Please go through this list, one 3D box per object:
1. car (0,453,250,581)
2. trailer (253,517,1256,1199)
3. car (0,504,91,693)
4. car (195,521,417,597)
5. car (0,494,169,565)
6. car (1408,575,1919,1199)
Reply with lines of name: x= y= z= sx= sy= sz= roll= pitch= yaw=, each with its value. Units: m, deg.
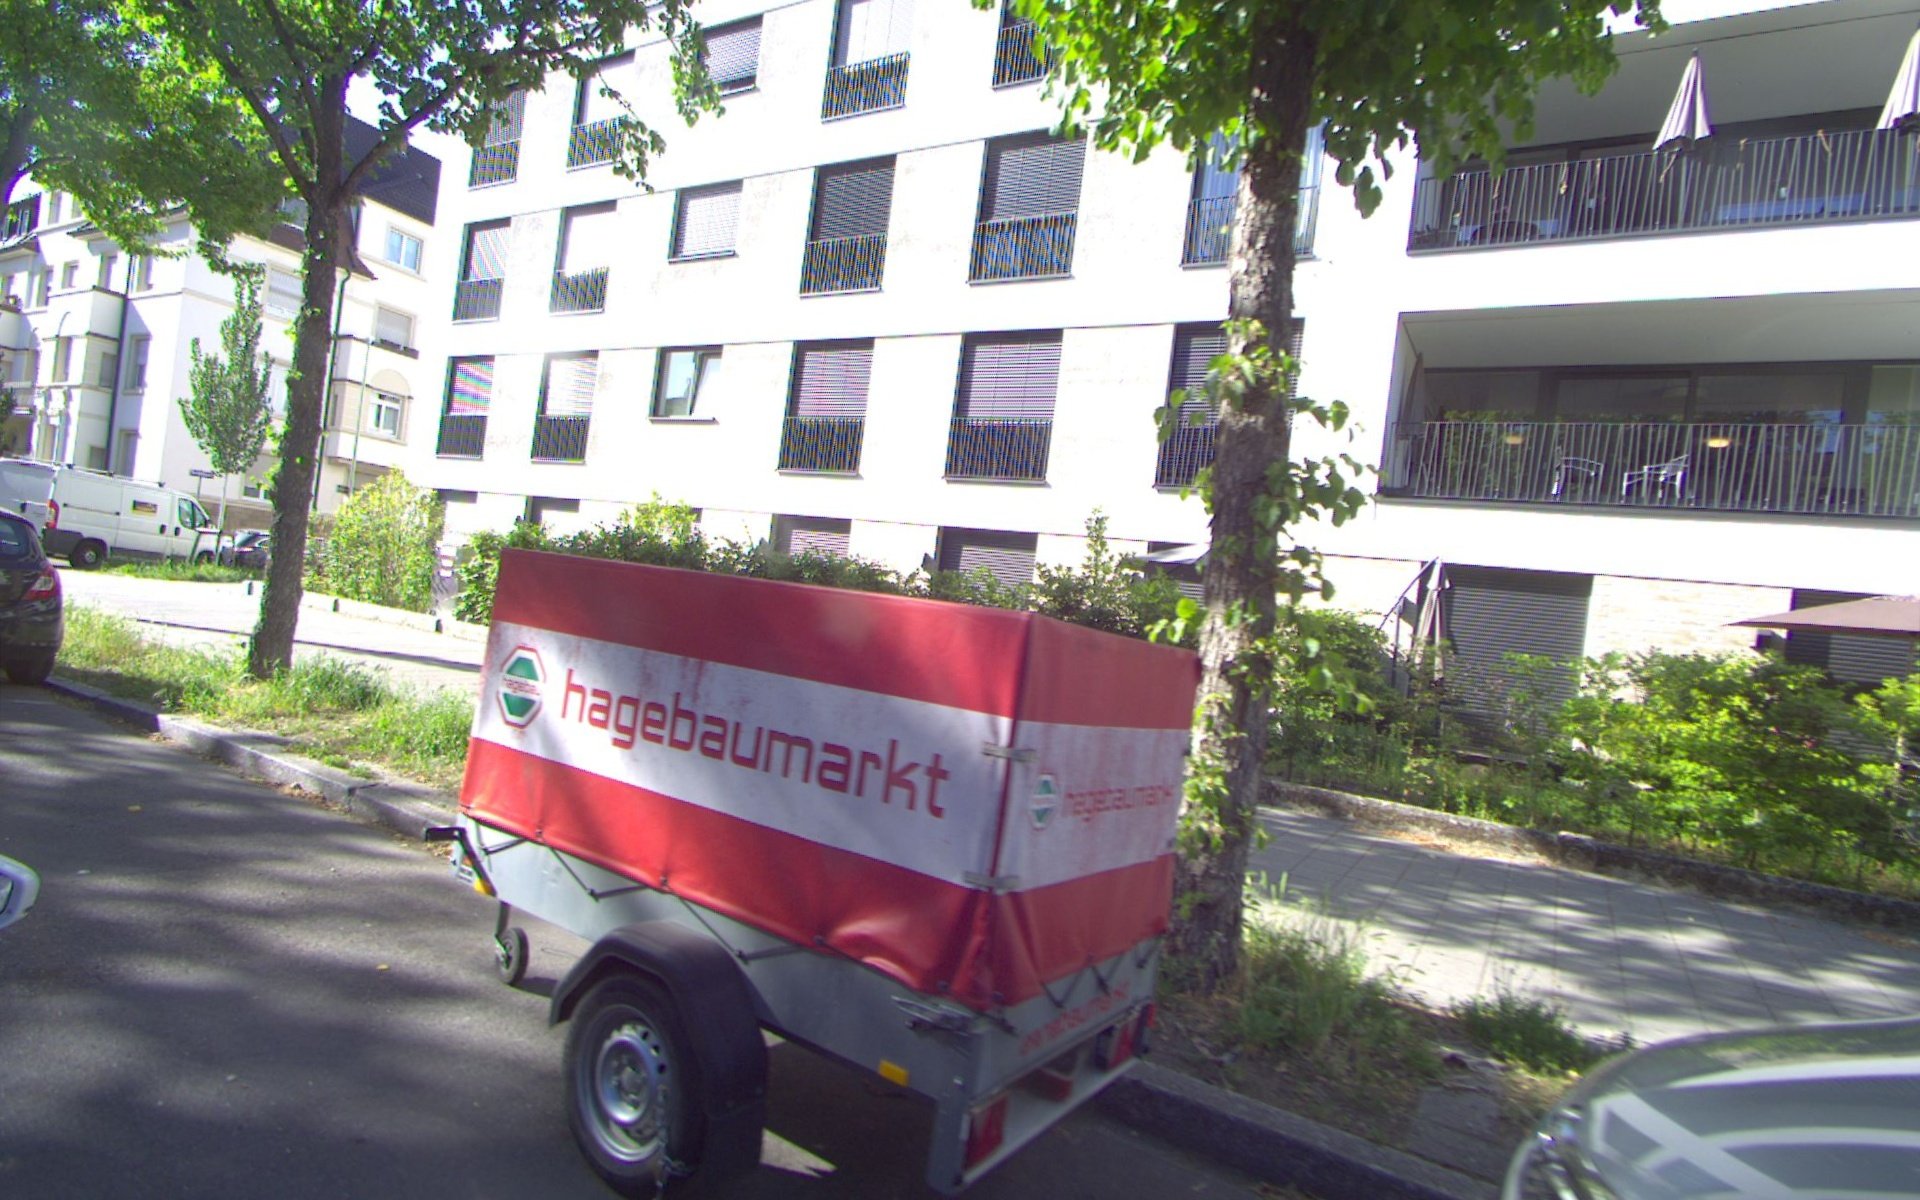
car: x=-20.246 y=-1.885 z=24.137 sx=2.192 sy=2.334 sz=5.060 roll=7 pitch=-1 yaw=8
trailer: x=-0.823 y=0.725 z=3.593 sx=3.140 sy=1.596 sz=1.578 roll=7 pitch=-3 yaw=33
car: x=-9.491 y=-0.263 z=8.645 sx=4.108 sy=1.466 sz=1.675 roll=7 pitch=-3 yaw=30
car: x=-18.782 y=-1.126 z=29.164 sx=2.013 sy=1.487 sz=4.937 roll=7 pitch=-1 yaw=29
car: x=-26.160 y=-2.101 z=29.251 sx=4.707 sy=1.487 sz=1.928 roll=8 pitch=-2 yaw=-45
car: x=3.004 y=1.136 z=0.794 sx=4.738 sy=1.661 sz=1.797 roll=7 pitch=-3 yaw=31
